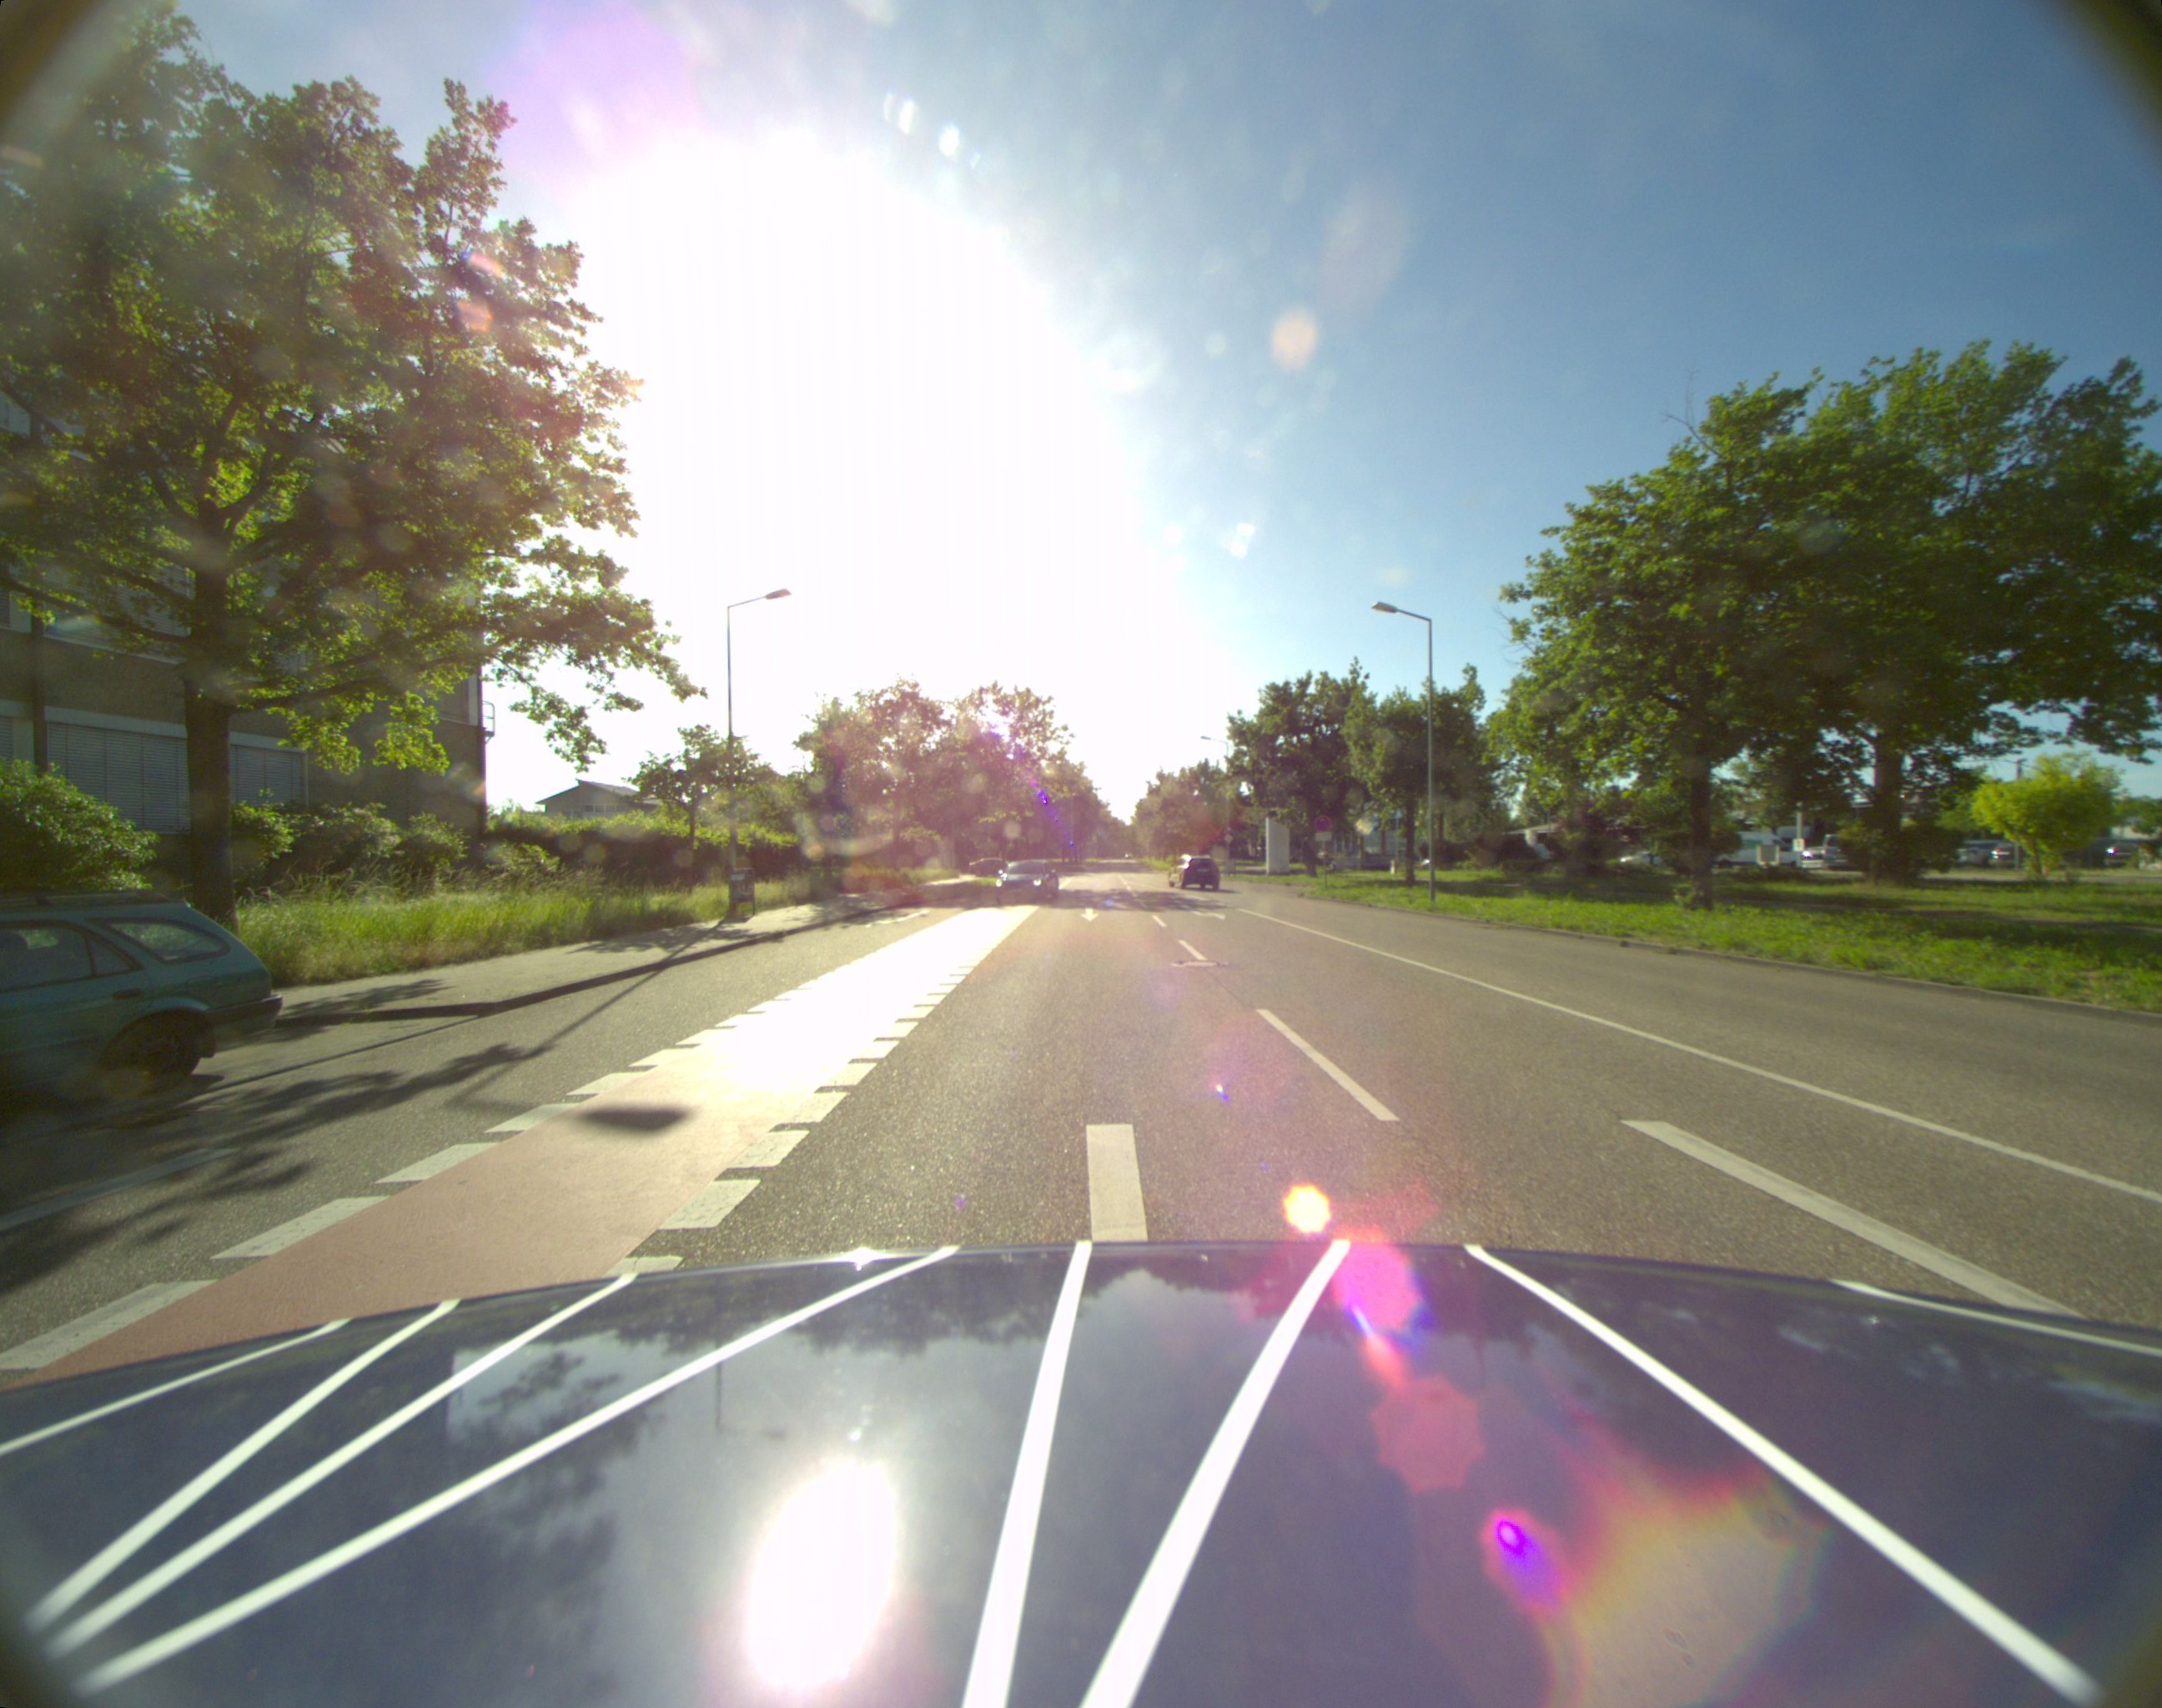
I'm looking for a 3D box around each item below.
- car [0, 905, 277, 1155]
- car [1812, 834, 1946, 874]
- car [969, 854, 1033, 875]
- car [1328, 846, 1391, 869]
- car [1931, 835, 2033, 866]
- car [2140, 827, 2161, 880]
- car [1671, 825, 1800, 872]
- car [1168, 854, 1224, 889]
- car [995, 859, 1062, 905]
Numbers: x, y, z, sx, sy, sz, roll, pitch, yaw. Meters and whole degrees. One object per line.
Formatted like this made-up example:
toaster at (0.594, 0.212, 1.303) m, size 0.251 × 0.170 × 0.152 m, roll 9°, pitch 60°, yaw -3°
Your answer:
car at (-7.533, 1.130, 4.222) m, size 1.706 × 1.460 × 4.141 m, roll -1°, pitch -1°, yaw 0°
car at (40.051, -0.004, 38.225) m, size 4.642 × 1.771 × 1.990 m, roll -2°, pitch 1°, yaw 0°
car at (-6.152, 0.806, 58.405) m, size 4.481 × 1.510 × 1.898 m, roll 0°, pitch 1°, yaw 12°
car at (23.917, 0.299, 65.374) m, size 4.637 × 1.822 × 2.000 m, roll -2°, pitch 1°, yaw 0°
car at (52.078, -0.206, 43.965) m, size 3.860 × 1.661 × 1.762 m, roll -2°, pitch 1°, yaw 0°
car at (33.879, -0.085, 22.044) m, size 3.817 × 1.562 × 1.736 m, roll -2°, pitch -1°, yaw 0°
car at (39.889, -0.337, 46.403) m, size 6.023 × 2.540 × 2.409 m, roll -2°, pitch 1°, yaw -4°
car at (5.298, 0.786, 35.503) m, size 1.768 × 1.517 × 4.078 m, roll 0°, pitch 0°, yaw -4°
car at (-1.809, 0.953, 27.567) m, size 1.652 × 1.460 × 3.943 m, roll -2°, pitch 0°, yaw 7°
